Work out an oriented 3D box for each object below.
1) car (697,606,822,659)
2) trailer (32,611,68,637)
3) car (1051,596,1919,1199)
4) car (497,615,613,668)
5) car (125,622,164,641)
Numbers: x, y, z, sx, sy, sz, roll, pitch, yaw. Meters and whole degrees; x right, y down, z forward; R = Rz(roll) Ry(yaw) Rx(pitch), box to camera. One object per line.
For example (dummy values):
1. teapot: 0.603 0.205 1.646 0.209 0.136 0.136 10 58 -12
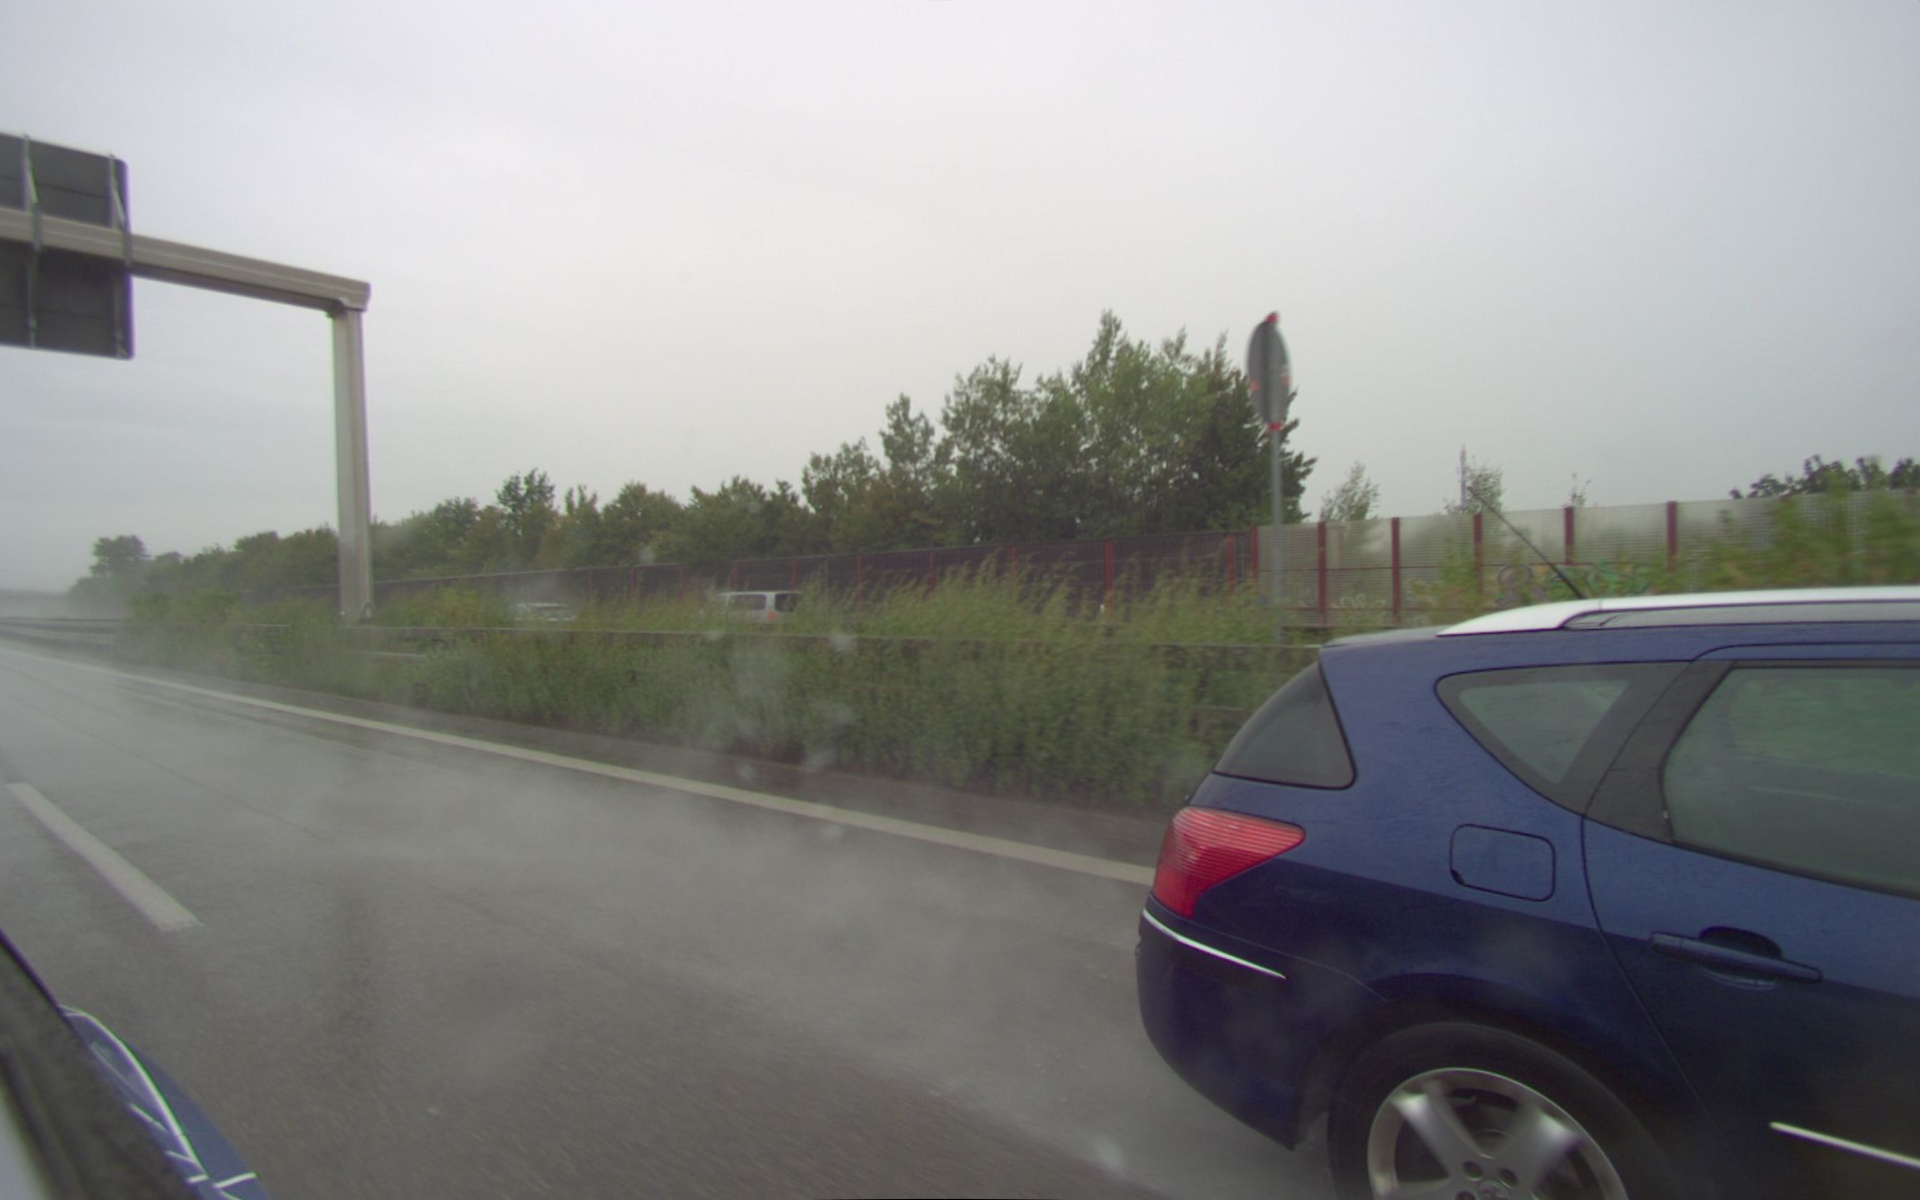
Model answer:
1. car: -6.755 1.075 33.916 4.262 1.652 1.972 -1 -2 41
2. trailer: -169.443 4.443 188.306 12.242 4.731 3.827 -2 -2 43
3. car: 2.812 0.727 1.476 5.156 1.497 2.032 -2 -2 42
4. car: -13.325 1.318 33.214 3.998 1.652 1.972 -1 -2 41
5. car: -63.576 2.426 78.880 3.739 1.393 1.729 -1 -1 42
